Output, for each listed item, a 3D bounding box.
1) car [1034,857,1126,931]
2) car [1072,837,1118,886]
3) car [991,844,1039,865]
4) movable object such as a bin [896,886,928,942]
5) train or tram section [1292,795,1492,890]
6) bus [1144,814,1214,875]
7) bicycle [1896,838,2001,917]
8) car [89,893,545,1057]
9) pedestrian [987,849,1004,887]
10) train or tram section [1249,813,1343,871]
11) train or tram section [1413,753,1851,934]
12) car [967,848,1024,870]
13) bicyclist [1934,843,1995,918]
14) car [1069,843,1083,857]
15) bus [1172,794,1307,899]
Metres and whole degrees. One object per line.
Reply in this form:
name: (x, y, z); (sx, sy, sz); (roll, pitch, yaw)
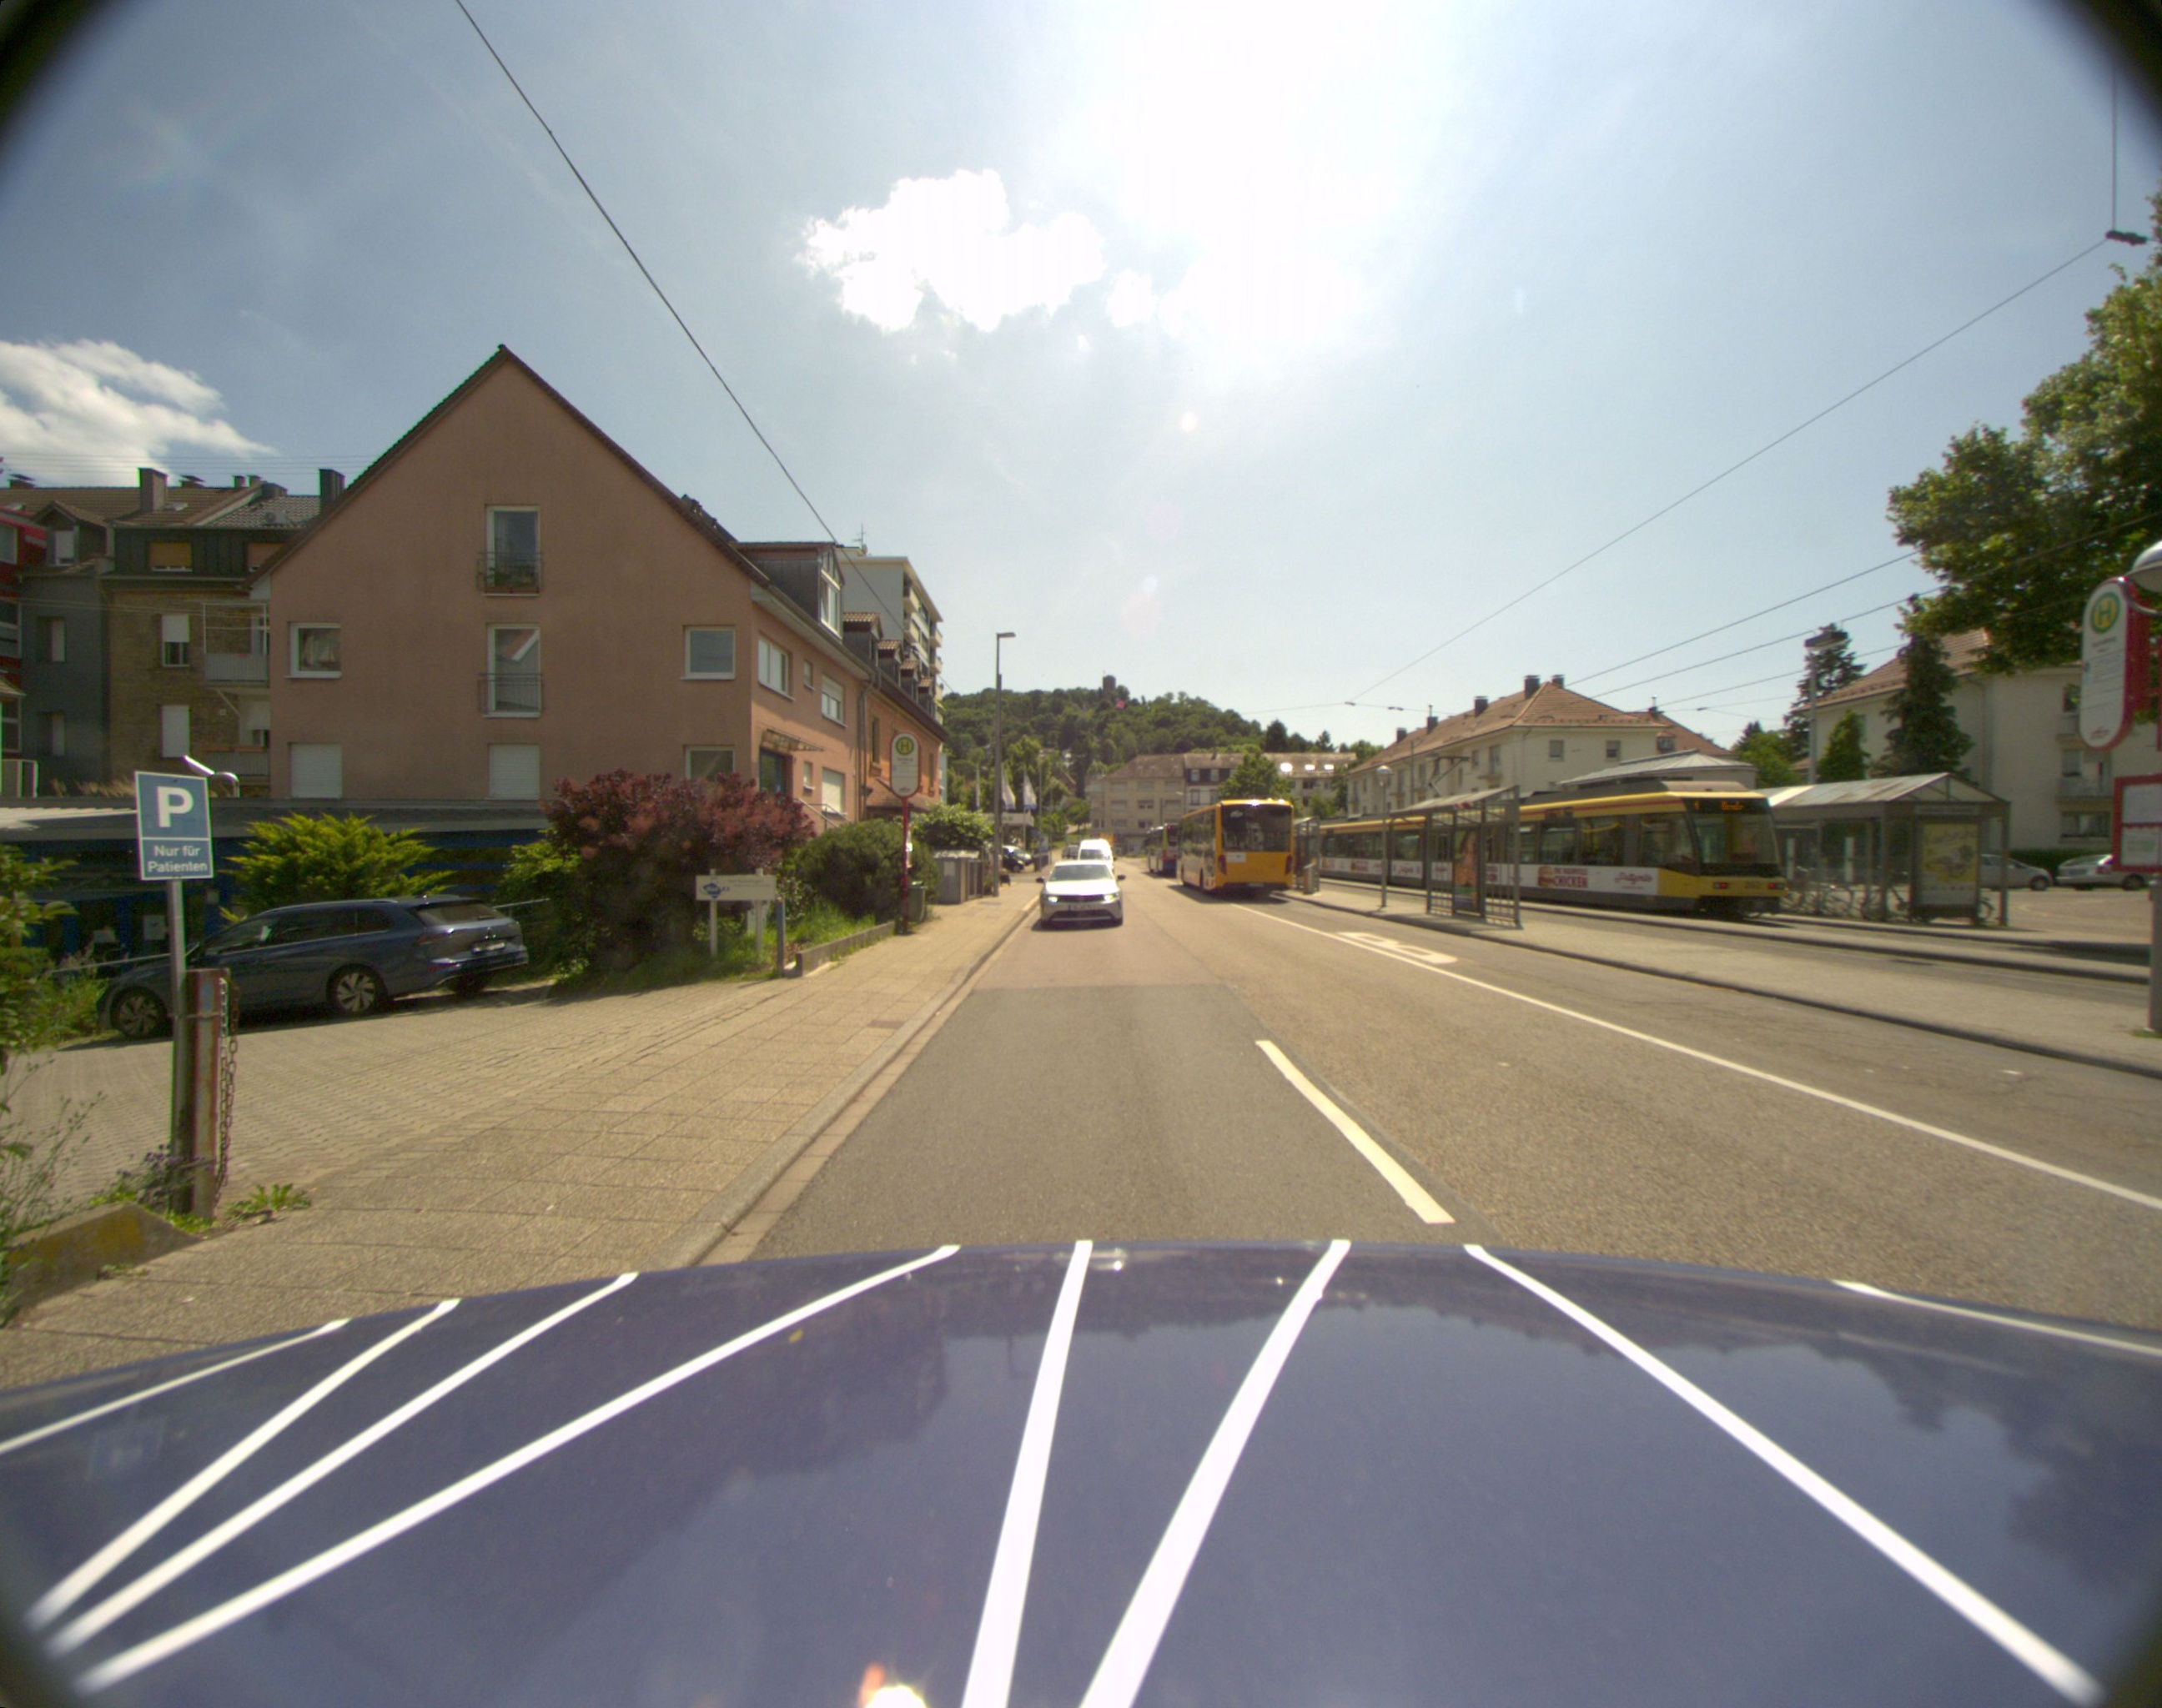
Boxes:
car: (0.110, 0.826, 17.787); (1.818, 1.371, 4.392); (-1, 1, 4)
car: (0.665, 0.302, 40.204); (1.999, 2.259, 5.441); (-2, 2, -3)
car: (-6.048, 0.029, 69.135); (4.277, 1.780, 1.826); (0, 3, 40)
movable object such as a bin: (-3.031, 1.070, 13.684); (0.407, 0.902, 0.729); (3, 2, -3)
train or tram section: (14.589, -0.610, 38.398); (2.971, 3.622, 17.348); (-2, 1, 0)
bus: (6.178, -0.571, 49.872); (2.915, 3.407, 12.039); (-2, 0, 0)
bicycle: (21.133, 0.542, 18.565); (0.633, 1.803, 1.669); (-2, 2, 0)
car: (-9.714, 1.494, 9.903); (4.142, 1.417, 1.722); (-6, 1, 2)
pedestrian: (-3.739, 0.597, 33.240); (0.707, 1.632, 0.659); (1, 0, -9)
train or tram section: (14.653, -0.867, 53.239); (2.971, 3.475, 12.654); (-2, 1, 0)
train or tram section: (14.462, -0.334, 22.708); (2.971, 3.622, 13.991); (-2, 1, 0)
car: (-6.100, 0.335, 54.259); (3.890, 1.534, 1.840); (0, 2, -12)
bicyclist: (21.142, 0.610, 18.194); (0.637, 1.734, 0.672); (-2, 2, 0)
car: (-0.735, -0.565, 103.350); (1.708, 1.840, 4.710); (-2, 2, -3)
bus: (5.762, -0.452, 30.179); (2.905, 3.229, 12.192); (-2, 2, 1)
